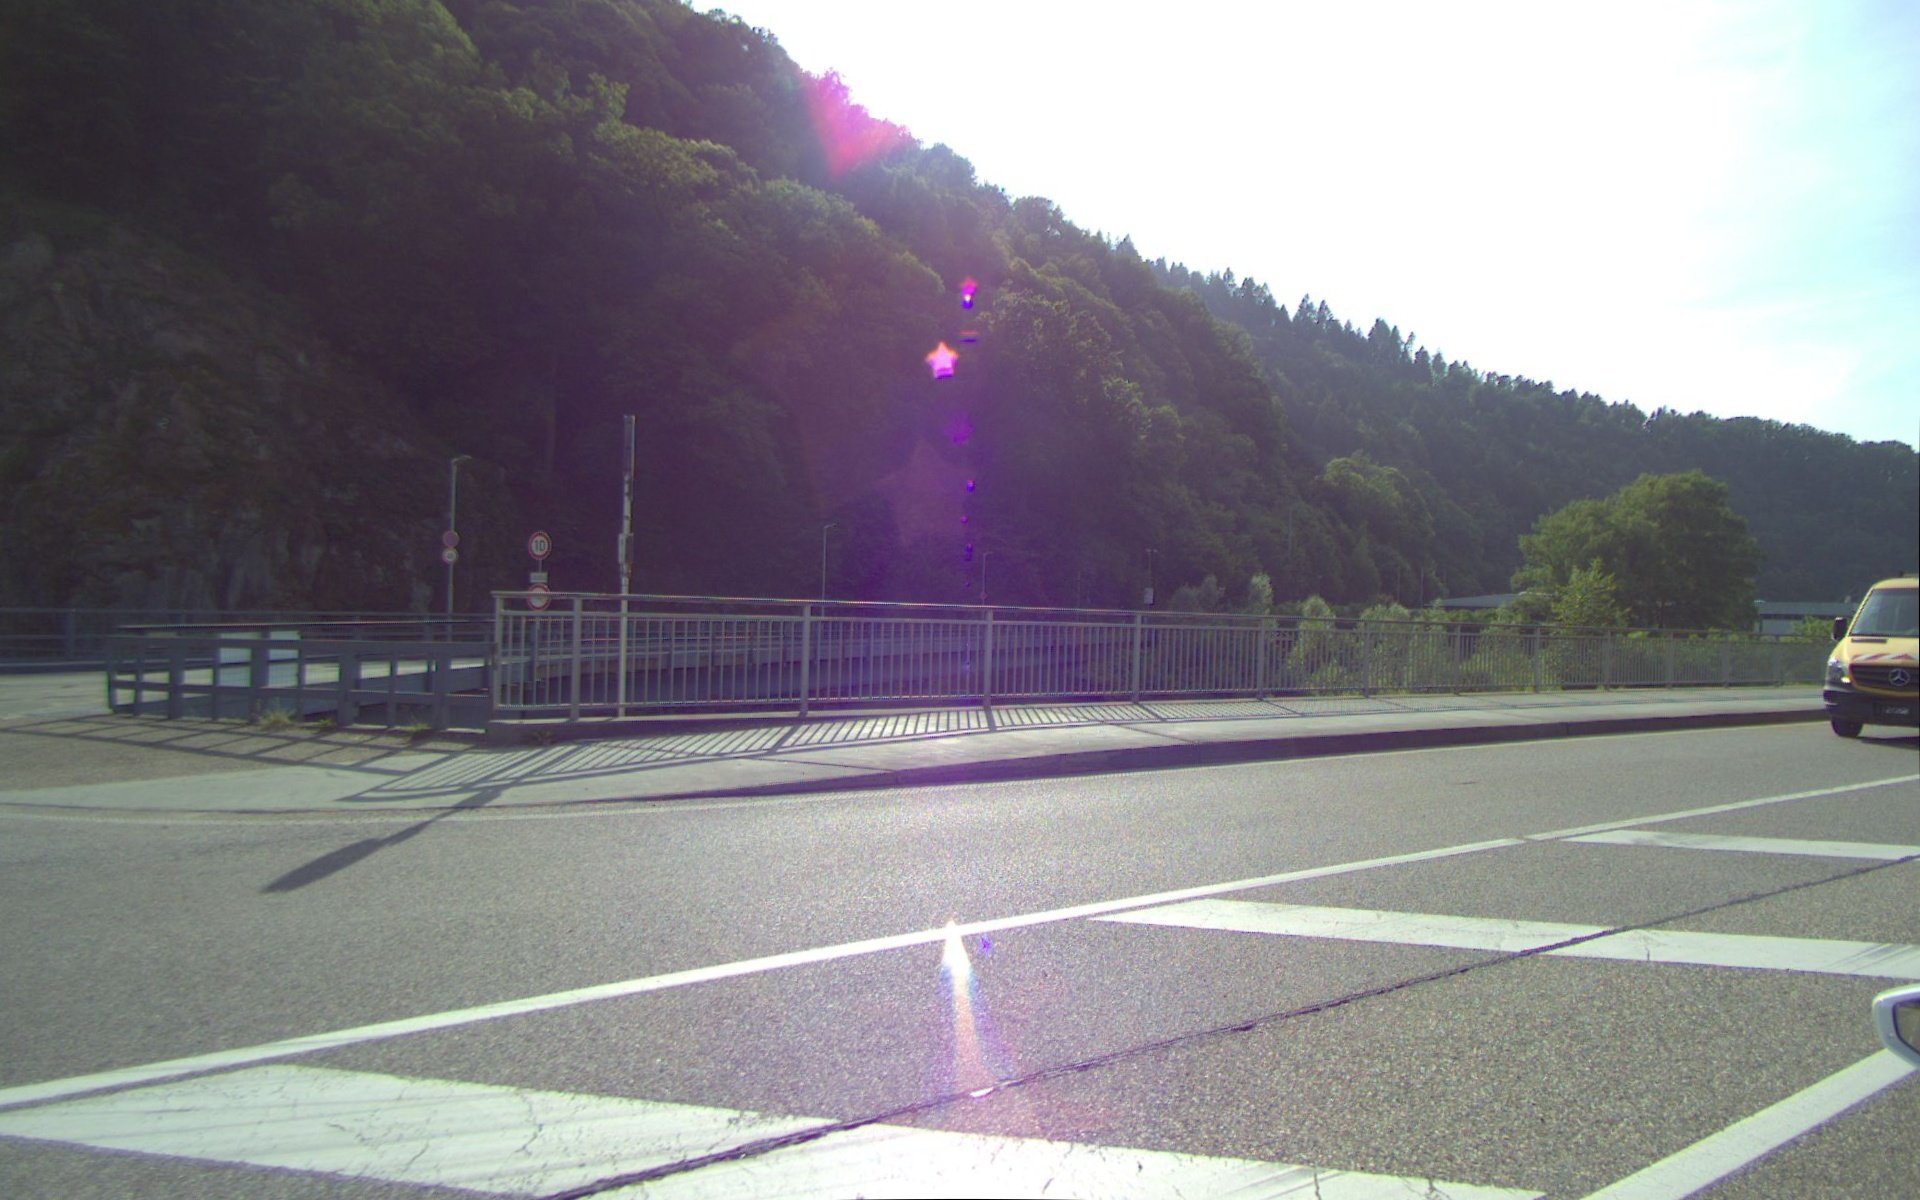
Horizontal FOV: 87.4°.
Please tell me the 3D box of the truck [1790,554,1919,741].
[{"bbox_3d":[14.776,0.703,14.729,5.786,2.419,2.153,2,0,-31],"label":"truck"}]
